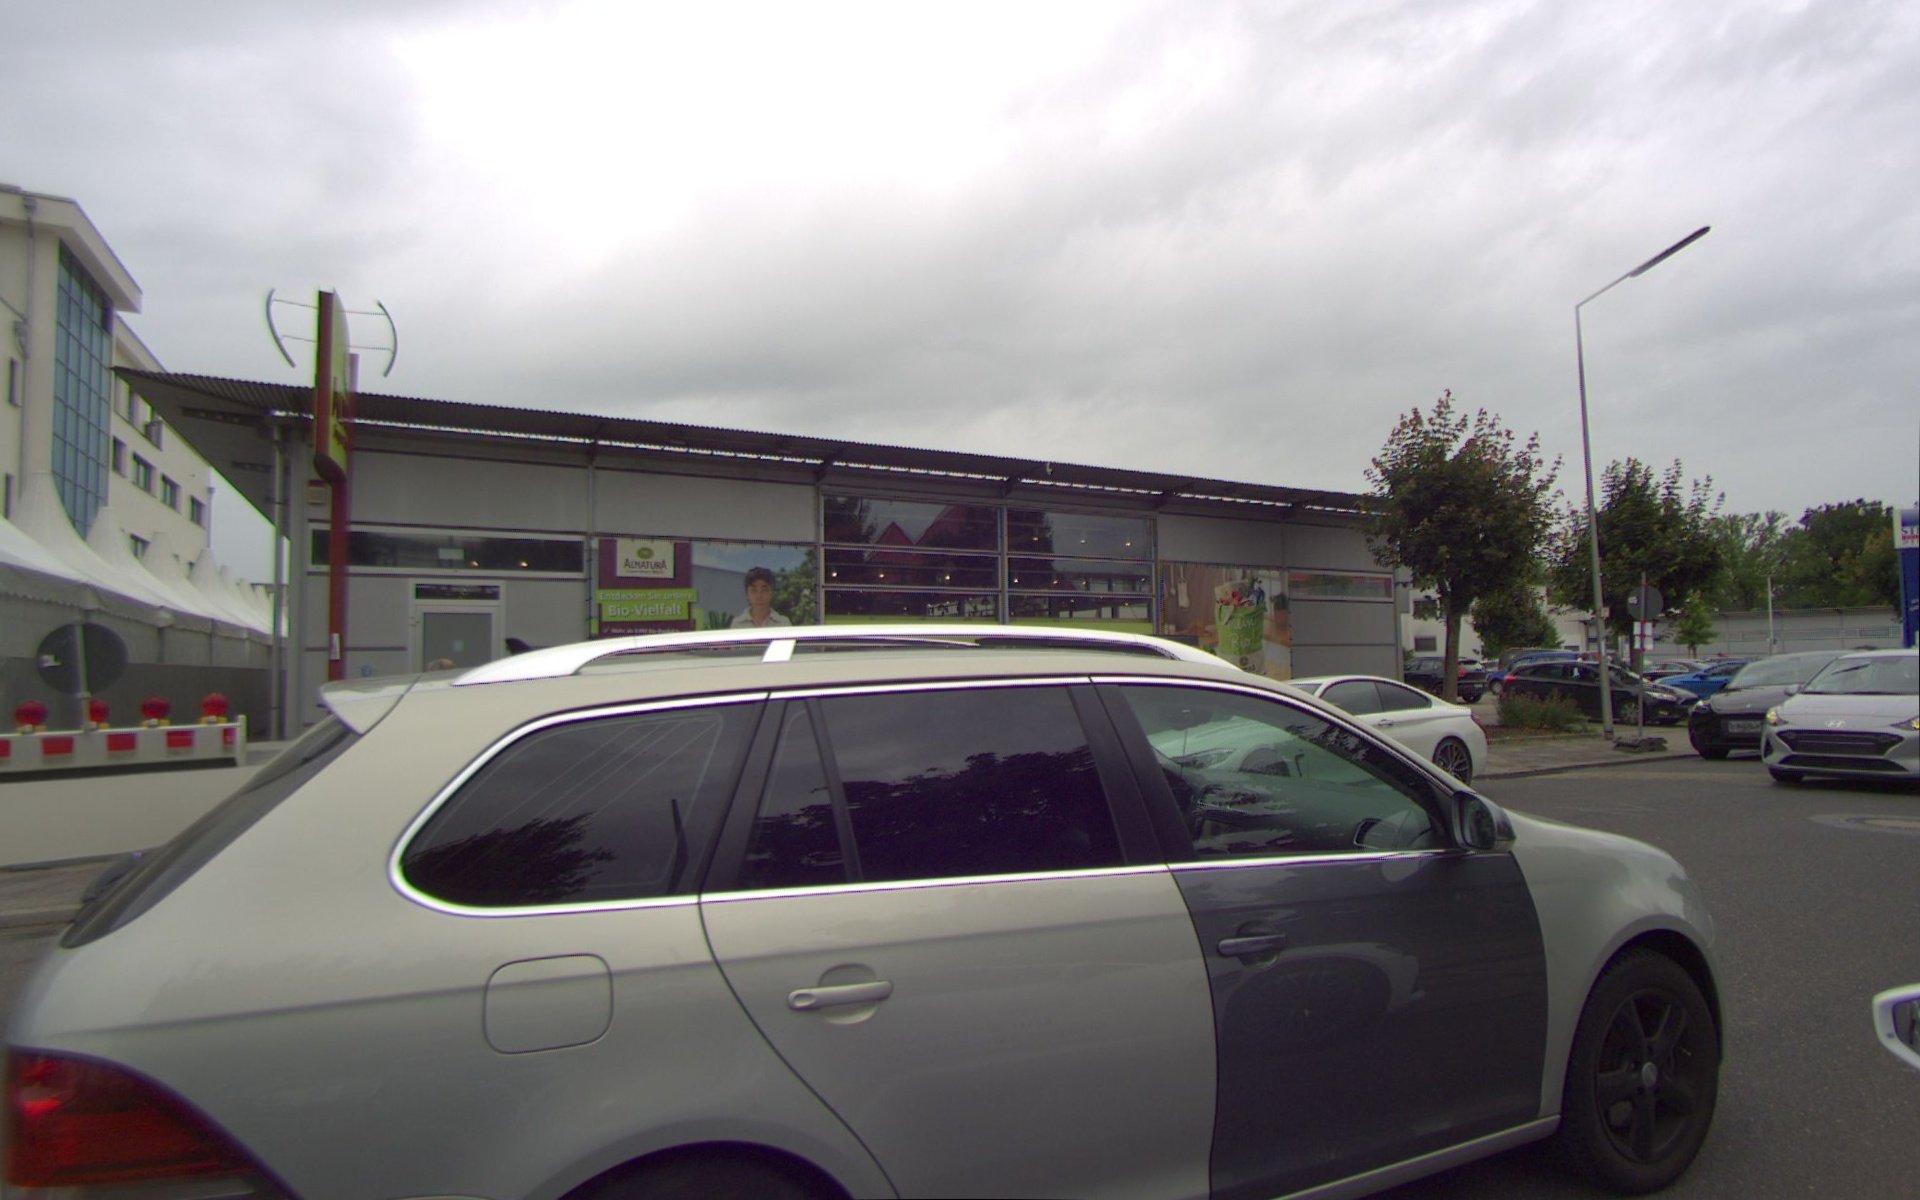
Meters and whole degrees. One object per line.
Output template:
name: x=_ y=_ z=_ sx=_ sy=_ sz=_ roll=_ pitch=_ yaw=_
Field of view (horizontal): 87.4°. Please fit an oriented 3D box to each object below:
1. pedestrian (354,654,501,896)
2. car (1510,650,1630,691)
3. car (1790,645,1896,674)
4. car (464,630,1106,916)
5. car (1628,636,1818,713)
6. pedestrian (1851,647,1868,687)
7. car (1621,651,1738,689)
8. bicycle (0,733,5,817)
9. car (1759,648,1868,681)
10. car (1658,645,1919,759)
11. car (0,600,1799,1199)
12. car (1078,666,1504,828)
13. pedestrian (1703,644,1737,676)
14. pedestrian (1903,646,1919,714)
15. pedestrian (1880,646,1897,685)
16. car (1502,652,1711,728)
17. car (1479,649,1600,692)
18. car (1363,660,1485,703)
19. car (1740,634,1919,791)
pedestrian: x=-3.872 y=1.253 z=7.345 sx=0.641 sy=1.641 sz=0.675 roll=-6 pitch=-8 yaw=25
car: x=26.154 y=3.032 z=43.184 sx=1.853 sy=1.690 sz=3.973 roll=1 pitch=-4 yaw=-28
car: x=48.398 y=3.290 z=55.122 sx=1.763 sy=1.511 sz=3.974 roll=1 pitch=-4 yaw=-27
car: x=-1.325 y=1.201 z=8.007 sx=4.669 sy=1.712 sz=1.860 roll=1 pitch=-7 yaw=-28
car: x=21.628 y=2.118 z=28.628 sx=1.743 sy=2.039 sz=3.906 roll=2 pitch=-5 yaw=-35
pedestrian: x=37.964 y=2.834 z=42.402 sx=0.450 sy=1.663 sz=0.372 roll=-4 pitch=-5 yaw=44
car: x=33.239 y=3.250 z=46.525 sx=1.853 sy=1.690 sz=3.973 roll=1 pitch=-4 yaw=-28
bicycle: x=-8.340 y=1.553 z=7.322 sx=1.873 sy=1.091 sz=0.543 roll=2 pitch=-4 yaw=-23
car: x=45.311 y=3.452 z=53.414 sx=1.853 sy=1.690 sz=3.973 roll=1 pitch=-4 yaw=-28
car: x=13.131 y=1.571 z=15.640 sx=4.351 sy=1.545 sz=1.939 roll=2 pitch=-8 yaw=-30
car: x=0.204 y=0.830 z=2.827 sx=4.242 sy=1.470 sz=1.747 roll=1 pitch=-4 yaw=-27
car: x=3.609 y=1.501 z=10.775 sx=4.463 sy=1.384 sz=1.693 roll=1 pitch=-9 yaw=-29
pedestrian: x=49.512 y=3.942 z=65.458 sx=1.361 sy=2.039 sz=1.211 roll=-2 pitch=-4 yaw=22
pedestrian: x=25.083 y=2.072 z=26.002 sx=0.689 sy=1.737 sz=0.771 roll=2 pitch=-3 yaw=-32
pedestrian: x=38.576 y=2.713 z=41.729 sx=0.500 sy=1.590 sz=0.356 roll=2 pitch=-4 yaw=-39
car: x=15.629 y=2.116 z=24.498 sx=1.903 sy=1.641 sz=3.859 roll=1 pitch=-3 yaw=-27
car: x=24.085 y=2.950 z=41.892 sx=1.853 sy=1.690 sz=3.973 roll=1 pitch=-4 yaw=-28
car: x=17.055 y=2.993 z=36.967 sx=3.927 sy=1.504 sz=1.874 roll=-3 pitch=-4 yaw=27
car: x=10.683 y=1.225 z=11.364 sx=3.484 sy=1.547 sz=1.593 roll=2 pitch=-6 yaw=-28
